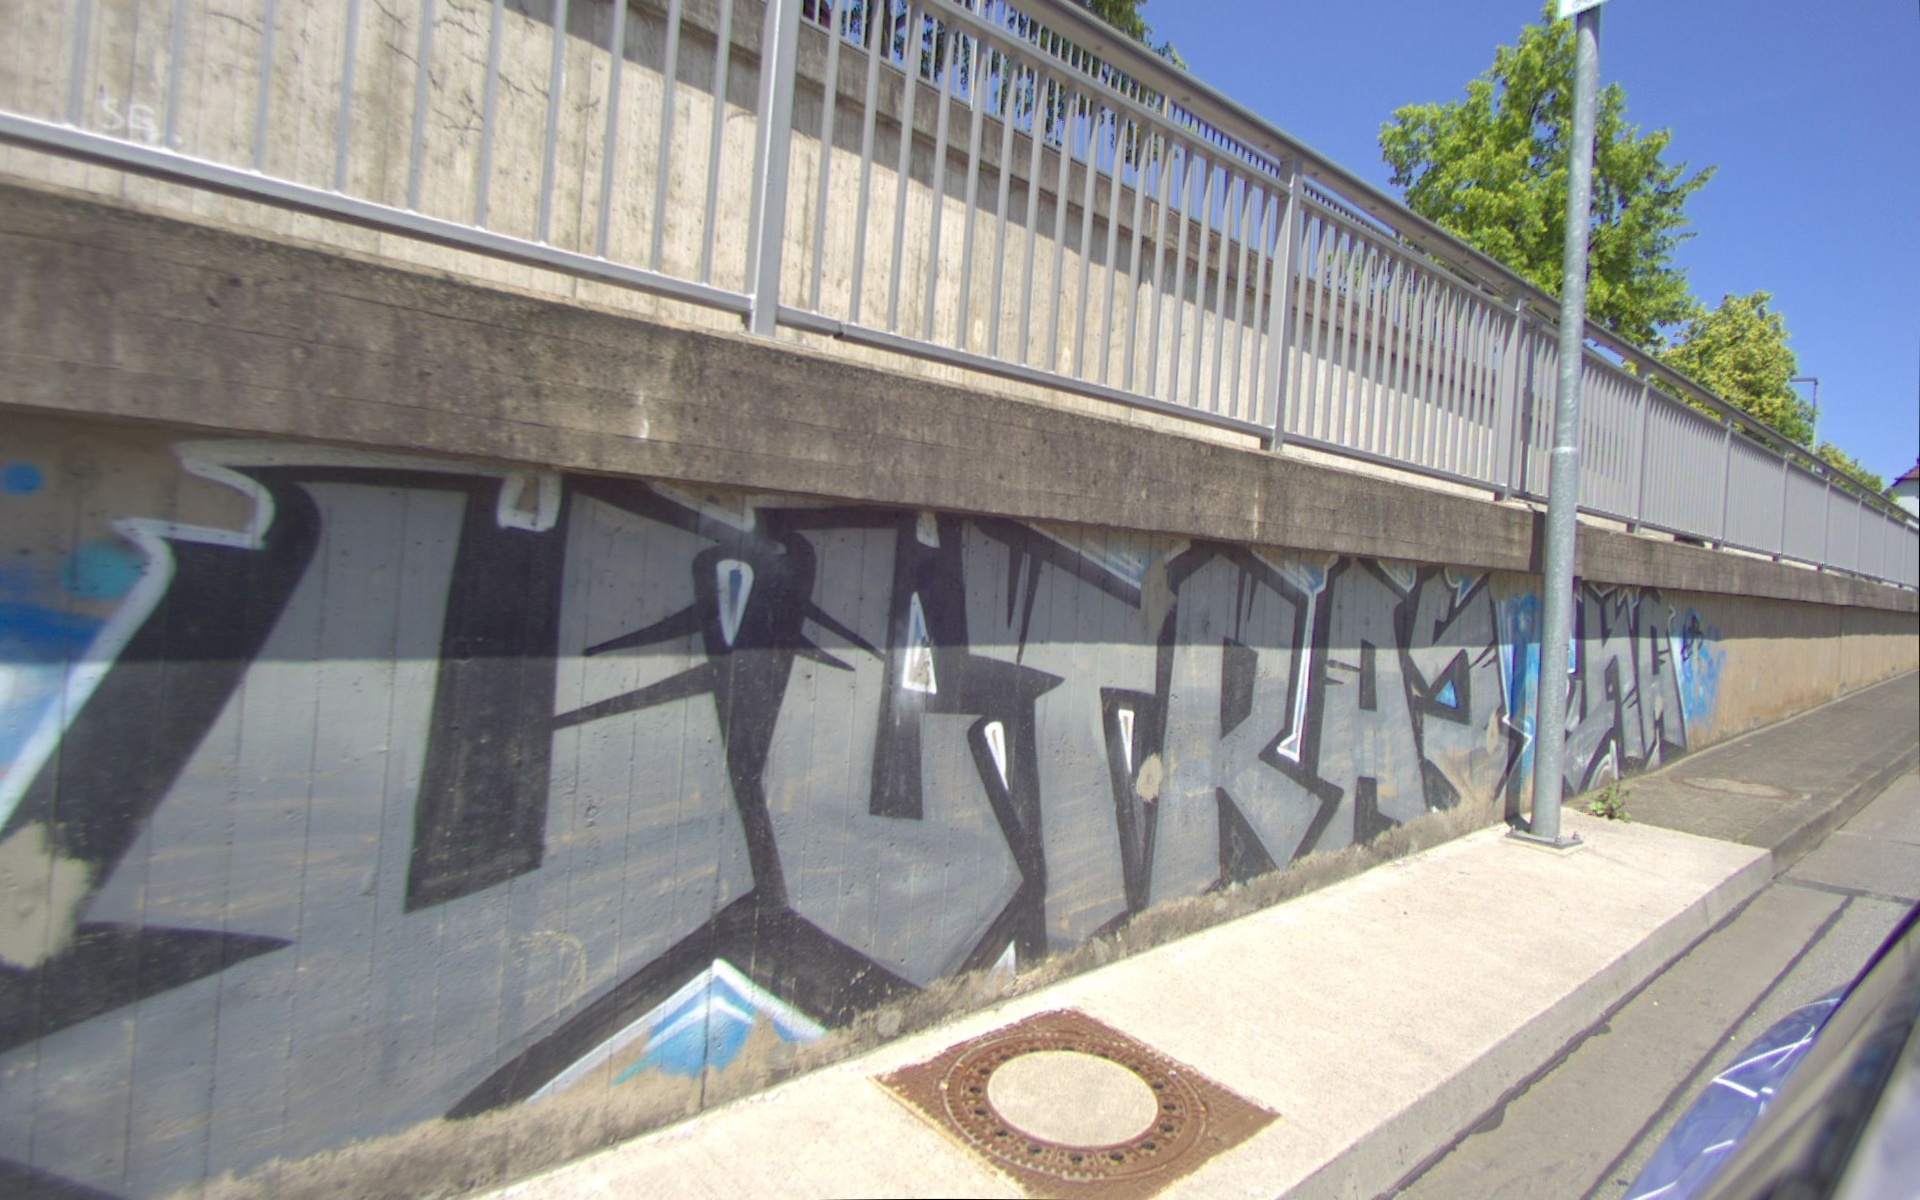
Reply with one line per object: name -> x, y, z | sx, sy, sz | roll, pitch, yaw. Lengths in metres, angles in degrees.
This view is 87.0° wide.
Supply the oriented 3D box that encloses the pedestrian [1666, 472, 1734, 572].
pedestrian -> 14.041, -1.458, 19.211 | 0.774, 1.804, 0.838 | 1, 1, -40
